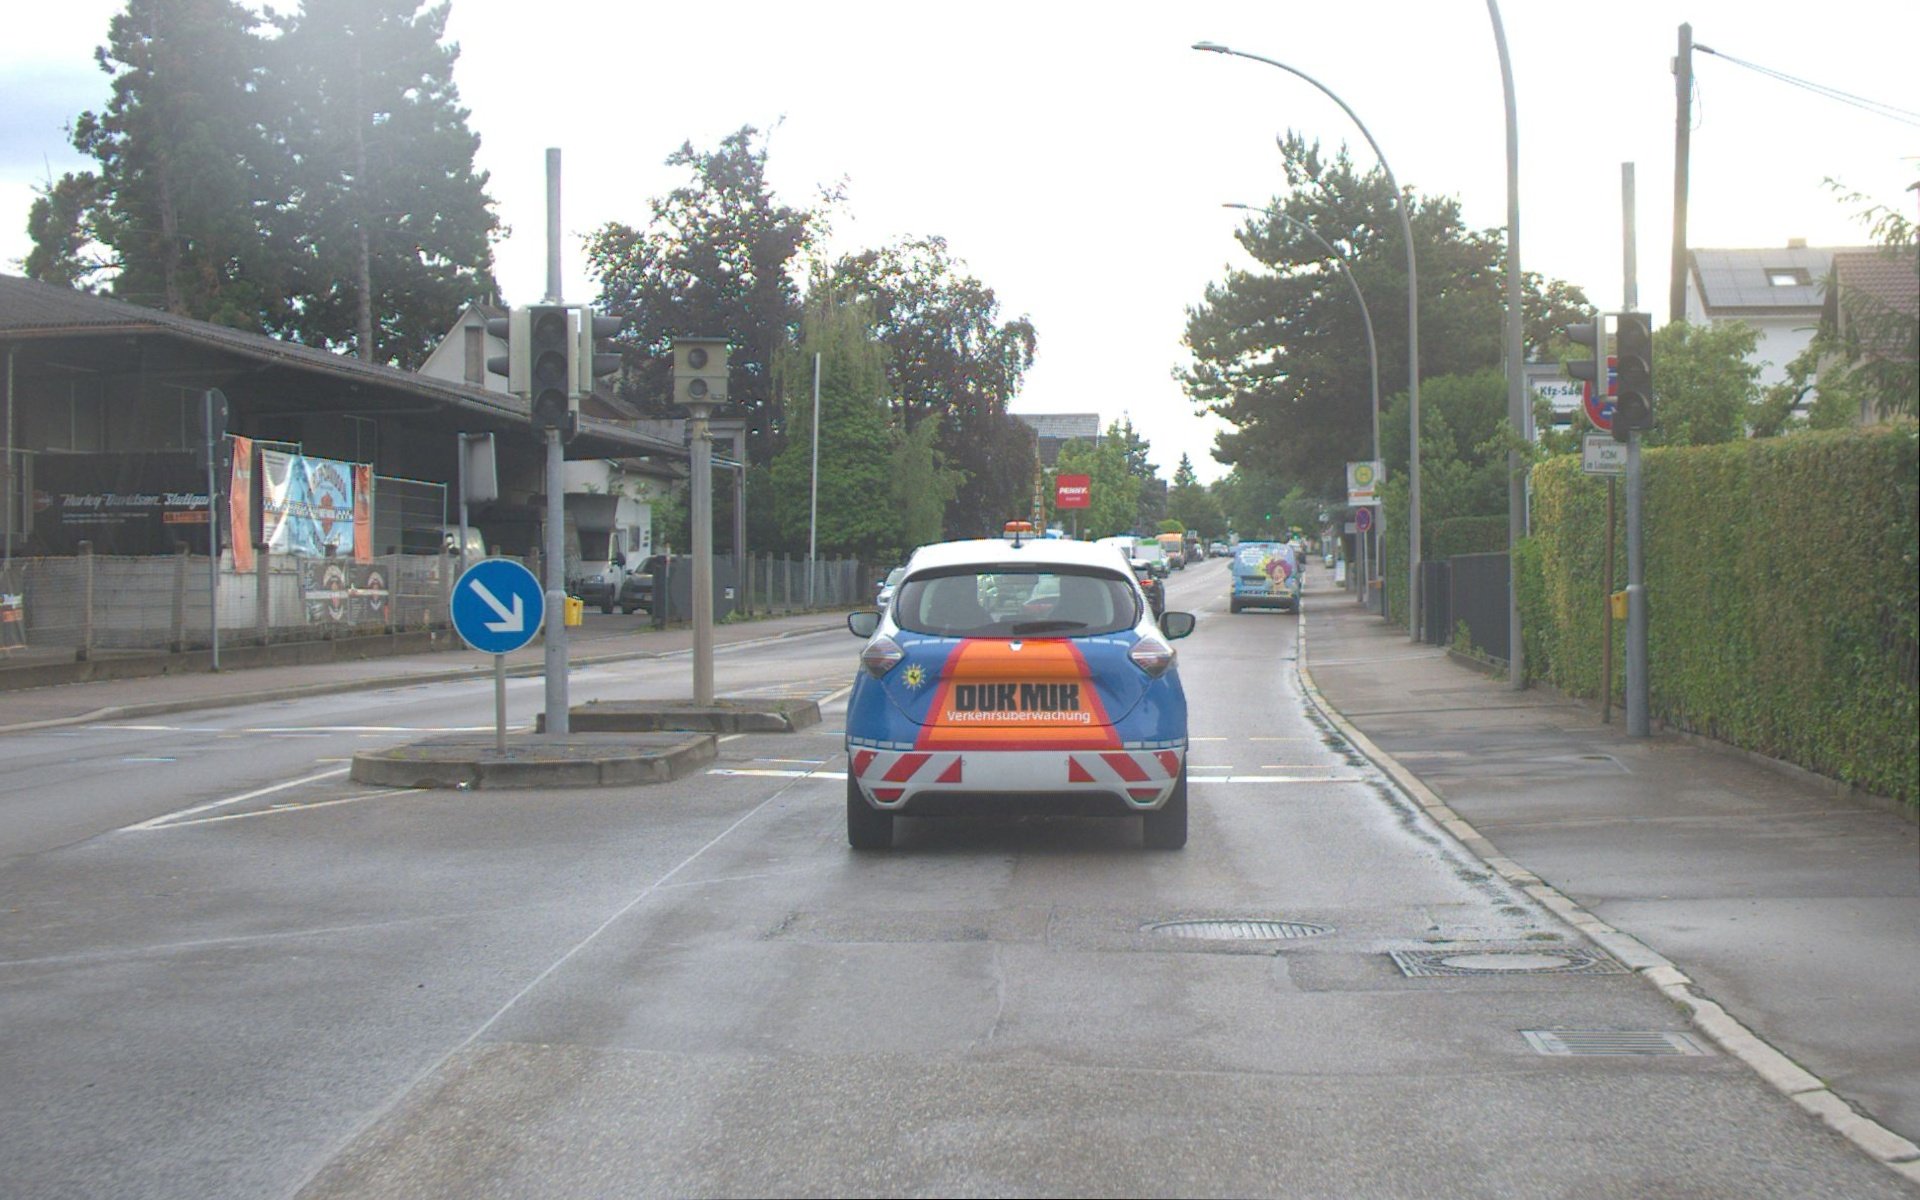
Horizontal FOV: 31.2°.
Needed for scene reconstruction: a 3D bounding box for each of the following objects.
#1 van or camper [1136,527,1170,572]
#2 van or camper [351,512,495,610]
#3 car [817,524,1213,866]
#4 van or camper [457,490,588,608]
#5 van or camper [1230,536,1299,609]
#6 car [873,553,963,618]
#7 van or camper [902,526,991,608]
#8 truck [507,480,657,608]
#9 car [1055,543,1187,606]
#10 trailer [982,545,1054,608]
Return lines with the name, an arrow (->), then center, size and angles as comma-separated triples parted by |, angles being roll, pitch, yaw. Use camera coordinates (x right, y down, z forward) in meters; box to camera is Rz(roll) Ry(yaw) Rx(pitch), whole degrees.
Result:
van or camper -> 12.071, -3.165, 214.518 | 1.994, 2.765, 5.440 | 0, 1, 4
van or camper -> -11.128, -0.801, 71.523 | 1.994, 1.902, 4.471 | 2, 0, 3
car -> 0.377, 0.424, 18.417 | 1.889, 1.626, 4.000 | 0, 1, 3
van or camper -> -9.922, -1.120, 78.325 | 1.859, 2.429, 5.233 | 3, -1, 4
van or camper -> 8.027, -0.738, 90.810 | 1.754, 1.876, 3.999 | 0, 1, 4
car -> -1.040, -0.346, 86.535 | 1.743, 1.475, 4.182 | -2, -2, 6
van or camper -> -0.324, -0.876, 93.341 | 1.891, 2.007, 5.096 | 2, -1, 5
truck -> -9.163, -1.312, 83.999 | 2.395, 2.917, 5.956 | 2, 0, 5
car -> 3.710, -0.609, 79.867 | 1.993, 1.415, 4.001 | 0, 1, -14
trailer -> 2.044, -0.812, 120.011 | 2.220, 2.007, 4.435 | 2, -1, 4
